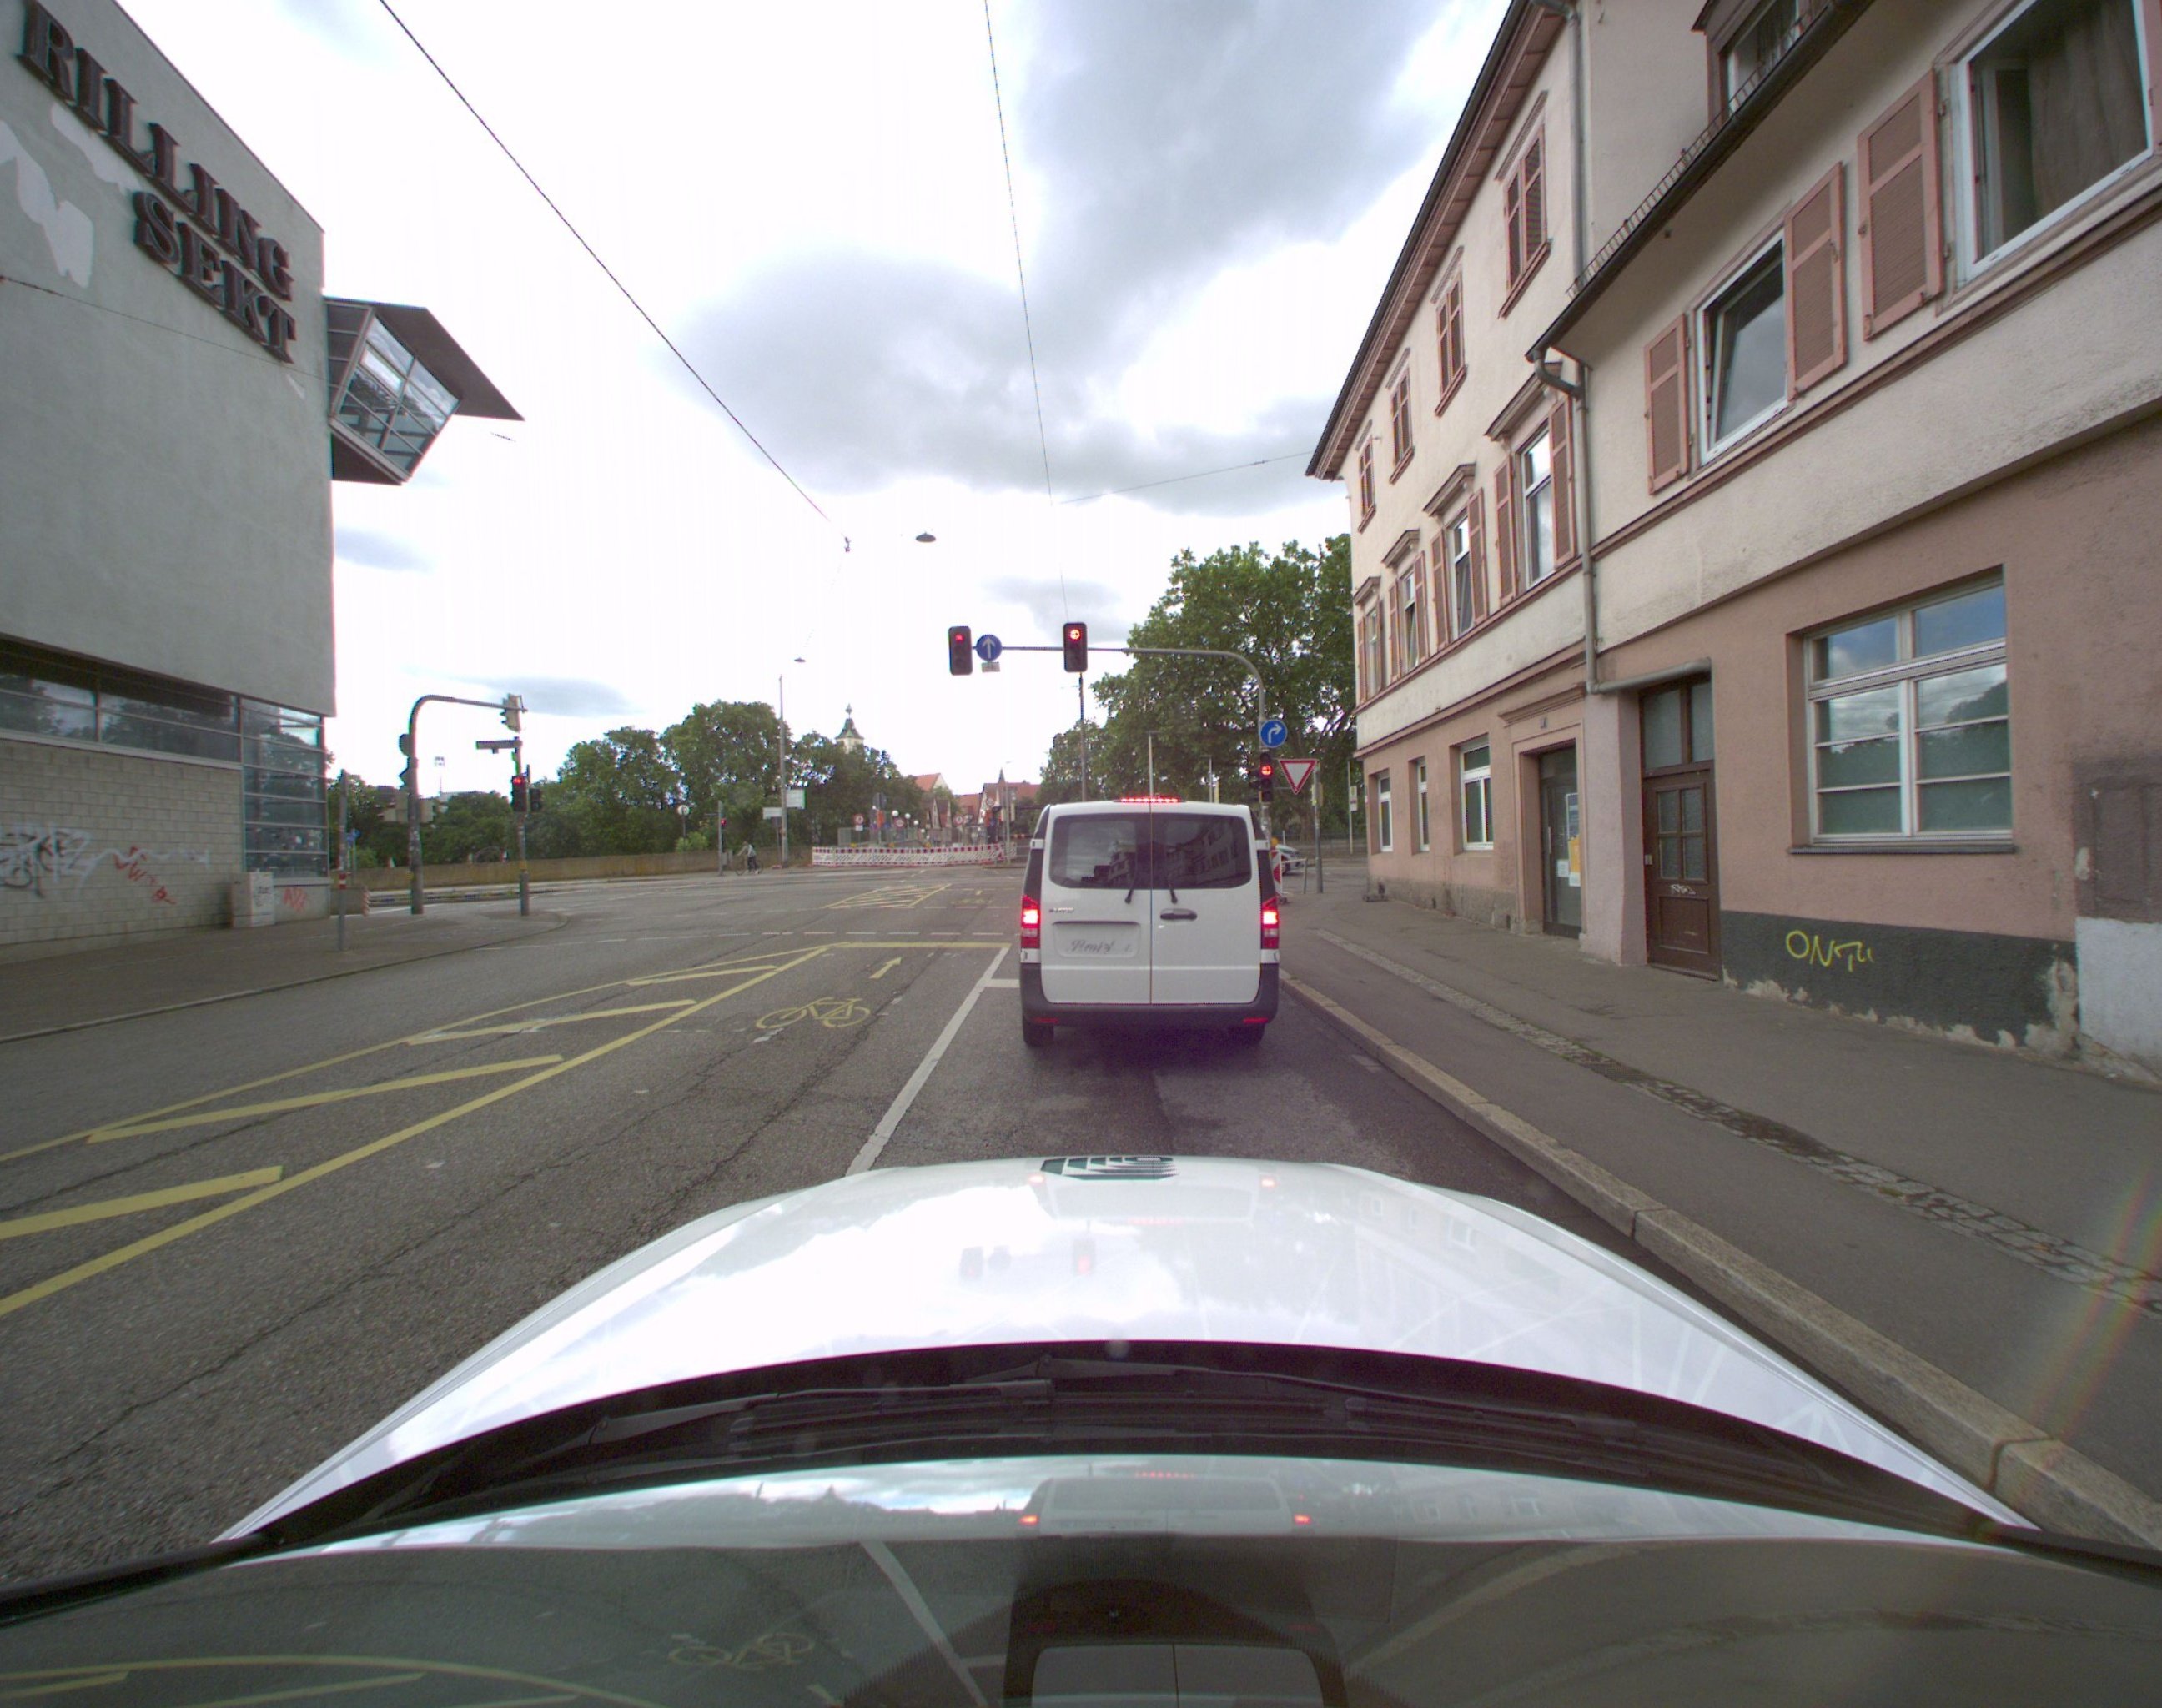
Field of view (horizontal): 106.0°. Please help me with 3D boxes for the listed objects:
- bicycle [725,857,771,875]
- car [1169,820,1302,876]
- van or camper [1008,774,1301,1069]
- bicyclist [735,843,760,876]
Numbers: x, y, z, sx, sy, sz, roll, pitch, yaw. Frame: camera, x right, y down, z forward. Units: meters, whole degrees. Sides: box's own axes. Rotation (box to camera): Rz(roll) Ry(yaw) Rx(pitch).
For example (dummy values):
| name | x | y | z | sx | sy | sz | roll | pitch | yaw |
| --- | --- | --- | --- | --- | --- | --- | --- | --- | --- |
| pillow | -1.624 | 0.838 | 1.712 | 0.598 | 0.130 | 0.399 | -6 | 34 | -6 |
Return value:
| name | x | y | z | sx | sy | sz | roll | pitch | yaw |
| --- | --- | --- | --- | --- | --- | --- | --- | --- | --- |
| bicycle | -17.836 | 0.630 | 43.652 | 2.150 | 0.892 | 0.751 | -3 | 2 | -41 |
| car | 5.207 | -0.237 | 27.929 | 4.324 | 1.802 | 2.004 | 0 | 3 | 6 |
| van or camper | 0.411 | 0.456 | 7.595 | 1.933 | 1.925 | 4.436 | 0 | -1 | -2 |
| bicyclist | -17.873 | 0.267 | 43.608 | 1.010 | 1.743 | 0.746 | -2 | 1 | -40 |
